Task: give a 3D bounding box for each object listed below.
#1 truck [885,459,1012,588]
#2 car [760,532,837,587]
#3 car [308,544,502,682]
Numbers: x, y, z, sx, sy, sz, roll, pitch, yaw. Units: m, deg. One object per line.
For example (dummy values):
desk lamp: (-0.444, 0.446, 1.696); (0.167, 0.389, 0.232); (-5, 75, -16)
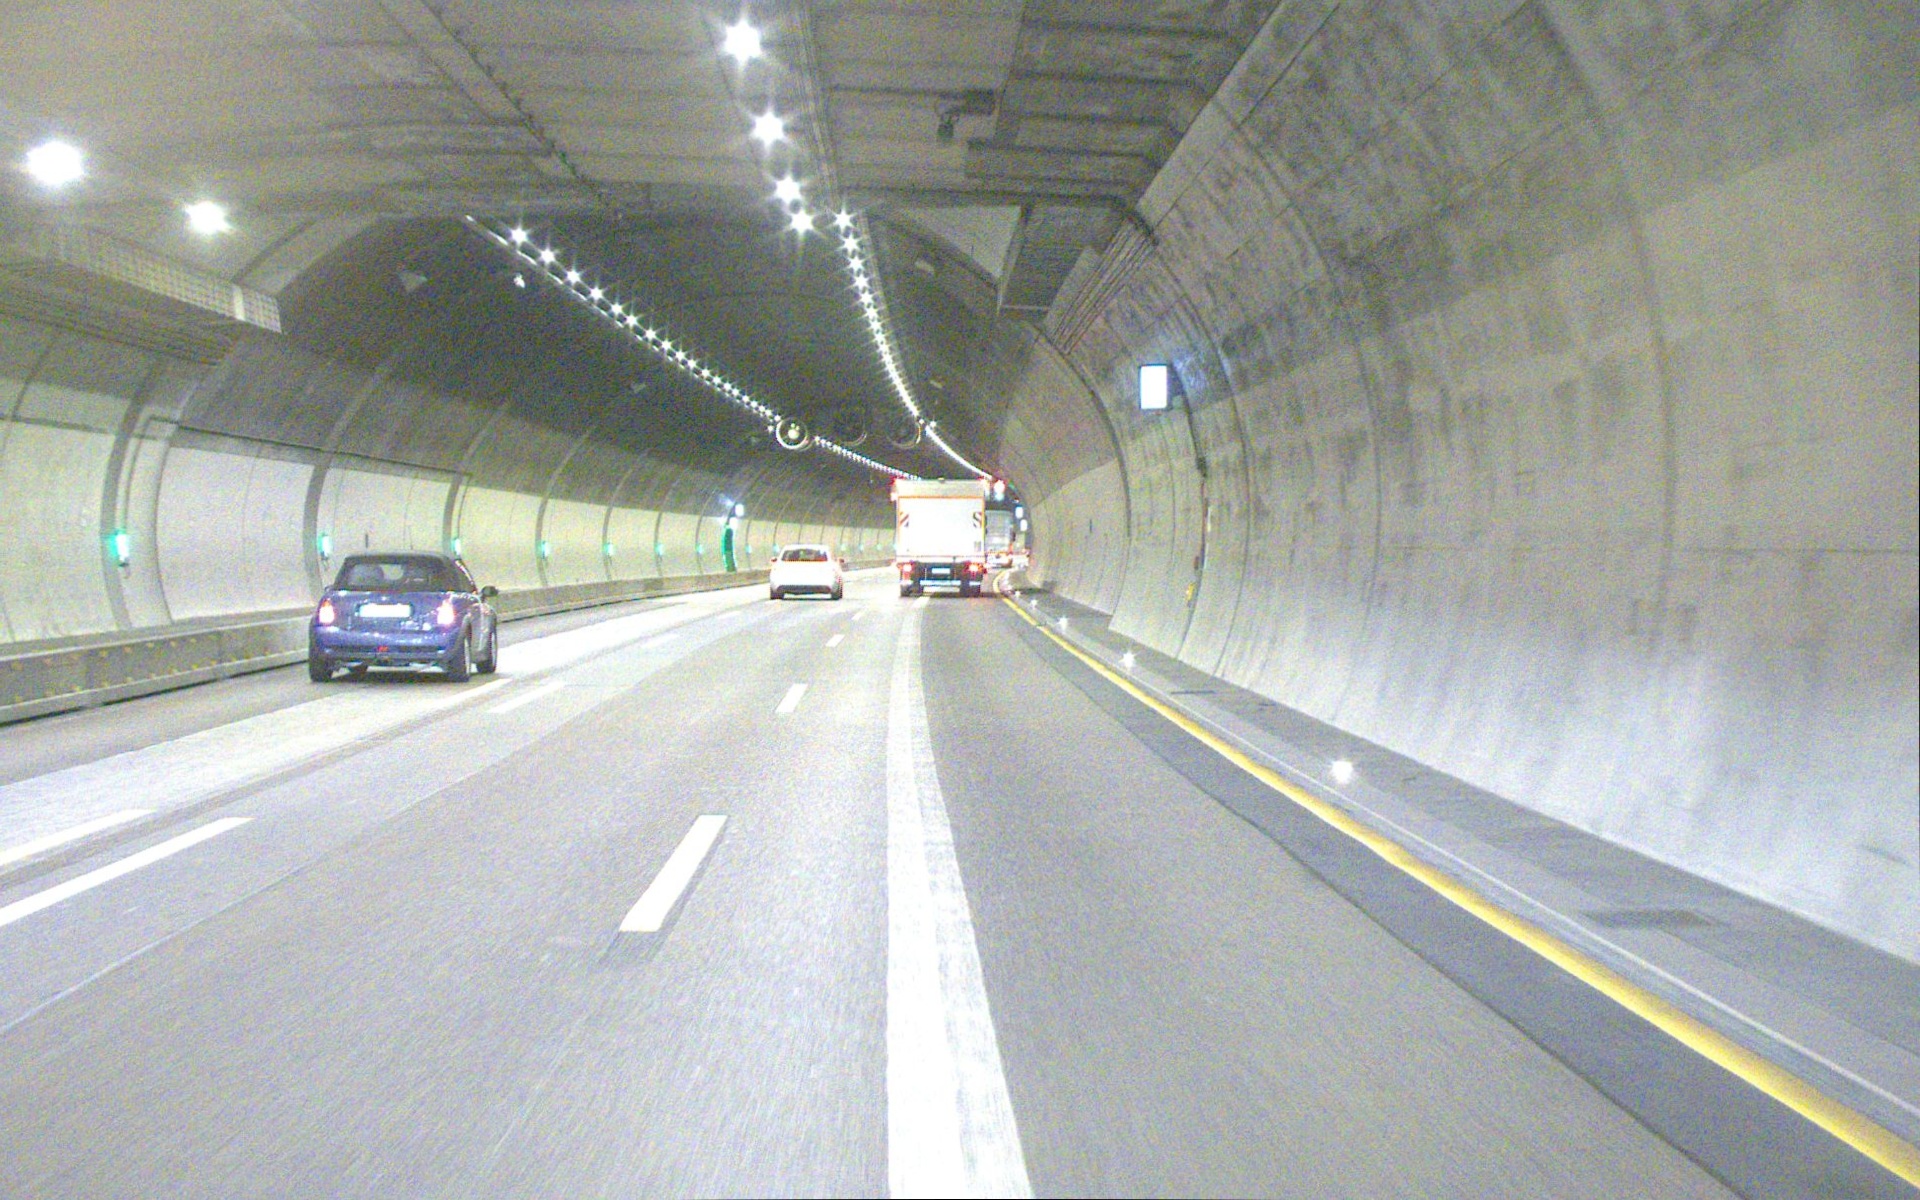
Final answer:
truck: (-0.325, -2.289, 103.413); (3.592, 3.638, 10.723); (-1, 1, 0)
car: (-4.333, -1.104, 91.628); (1.993, 1.408, 4.743); (-1, 1, -3)
car: (-6.061, 0.103, 37.901); (1.689, 1.412, 3.923); (-1, 1, -3)
